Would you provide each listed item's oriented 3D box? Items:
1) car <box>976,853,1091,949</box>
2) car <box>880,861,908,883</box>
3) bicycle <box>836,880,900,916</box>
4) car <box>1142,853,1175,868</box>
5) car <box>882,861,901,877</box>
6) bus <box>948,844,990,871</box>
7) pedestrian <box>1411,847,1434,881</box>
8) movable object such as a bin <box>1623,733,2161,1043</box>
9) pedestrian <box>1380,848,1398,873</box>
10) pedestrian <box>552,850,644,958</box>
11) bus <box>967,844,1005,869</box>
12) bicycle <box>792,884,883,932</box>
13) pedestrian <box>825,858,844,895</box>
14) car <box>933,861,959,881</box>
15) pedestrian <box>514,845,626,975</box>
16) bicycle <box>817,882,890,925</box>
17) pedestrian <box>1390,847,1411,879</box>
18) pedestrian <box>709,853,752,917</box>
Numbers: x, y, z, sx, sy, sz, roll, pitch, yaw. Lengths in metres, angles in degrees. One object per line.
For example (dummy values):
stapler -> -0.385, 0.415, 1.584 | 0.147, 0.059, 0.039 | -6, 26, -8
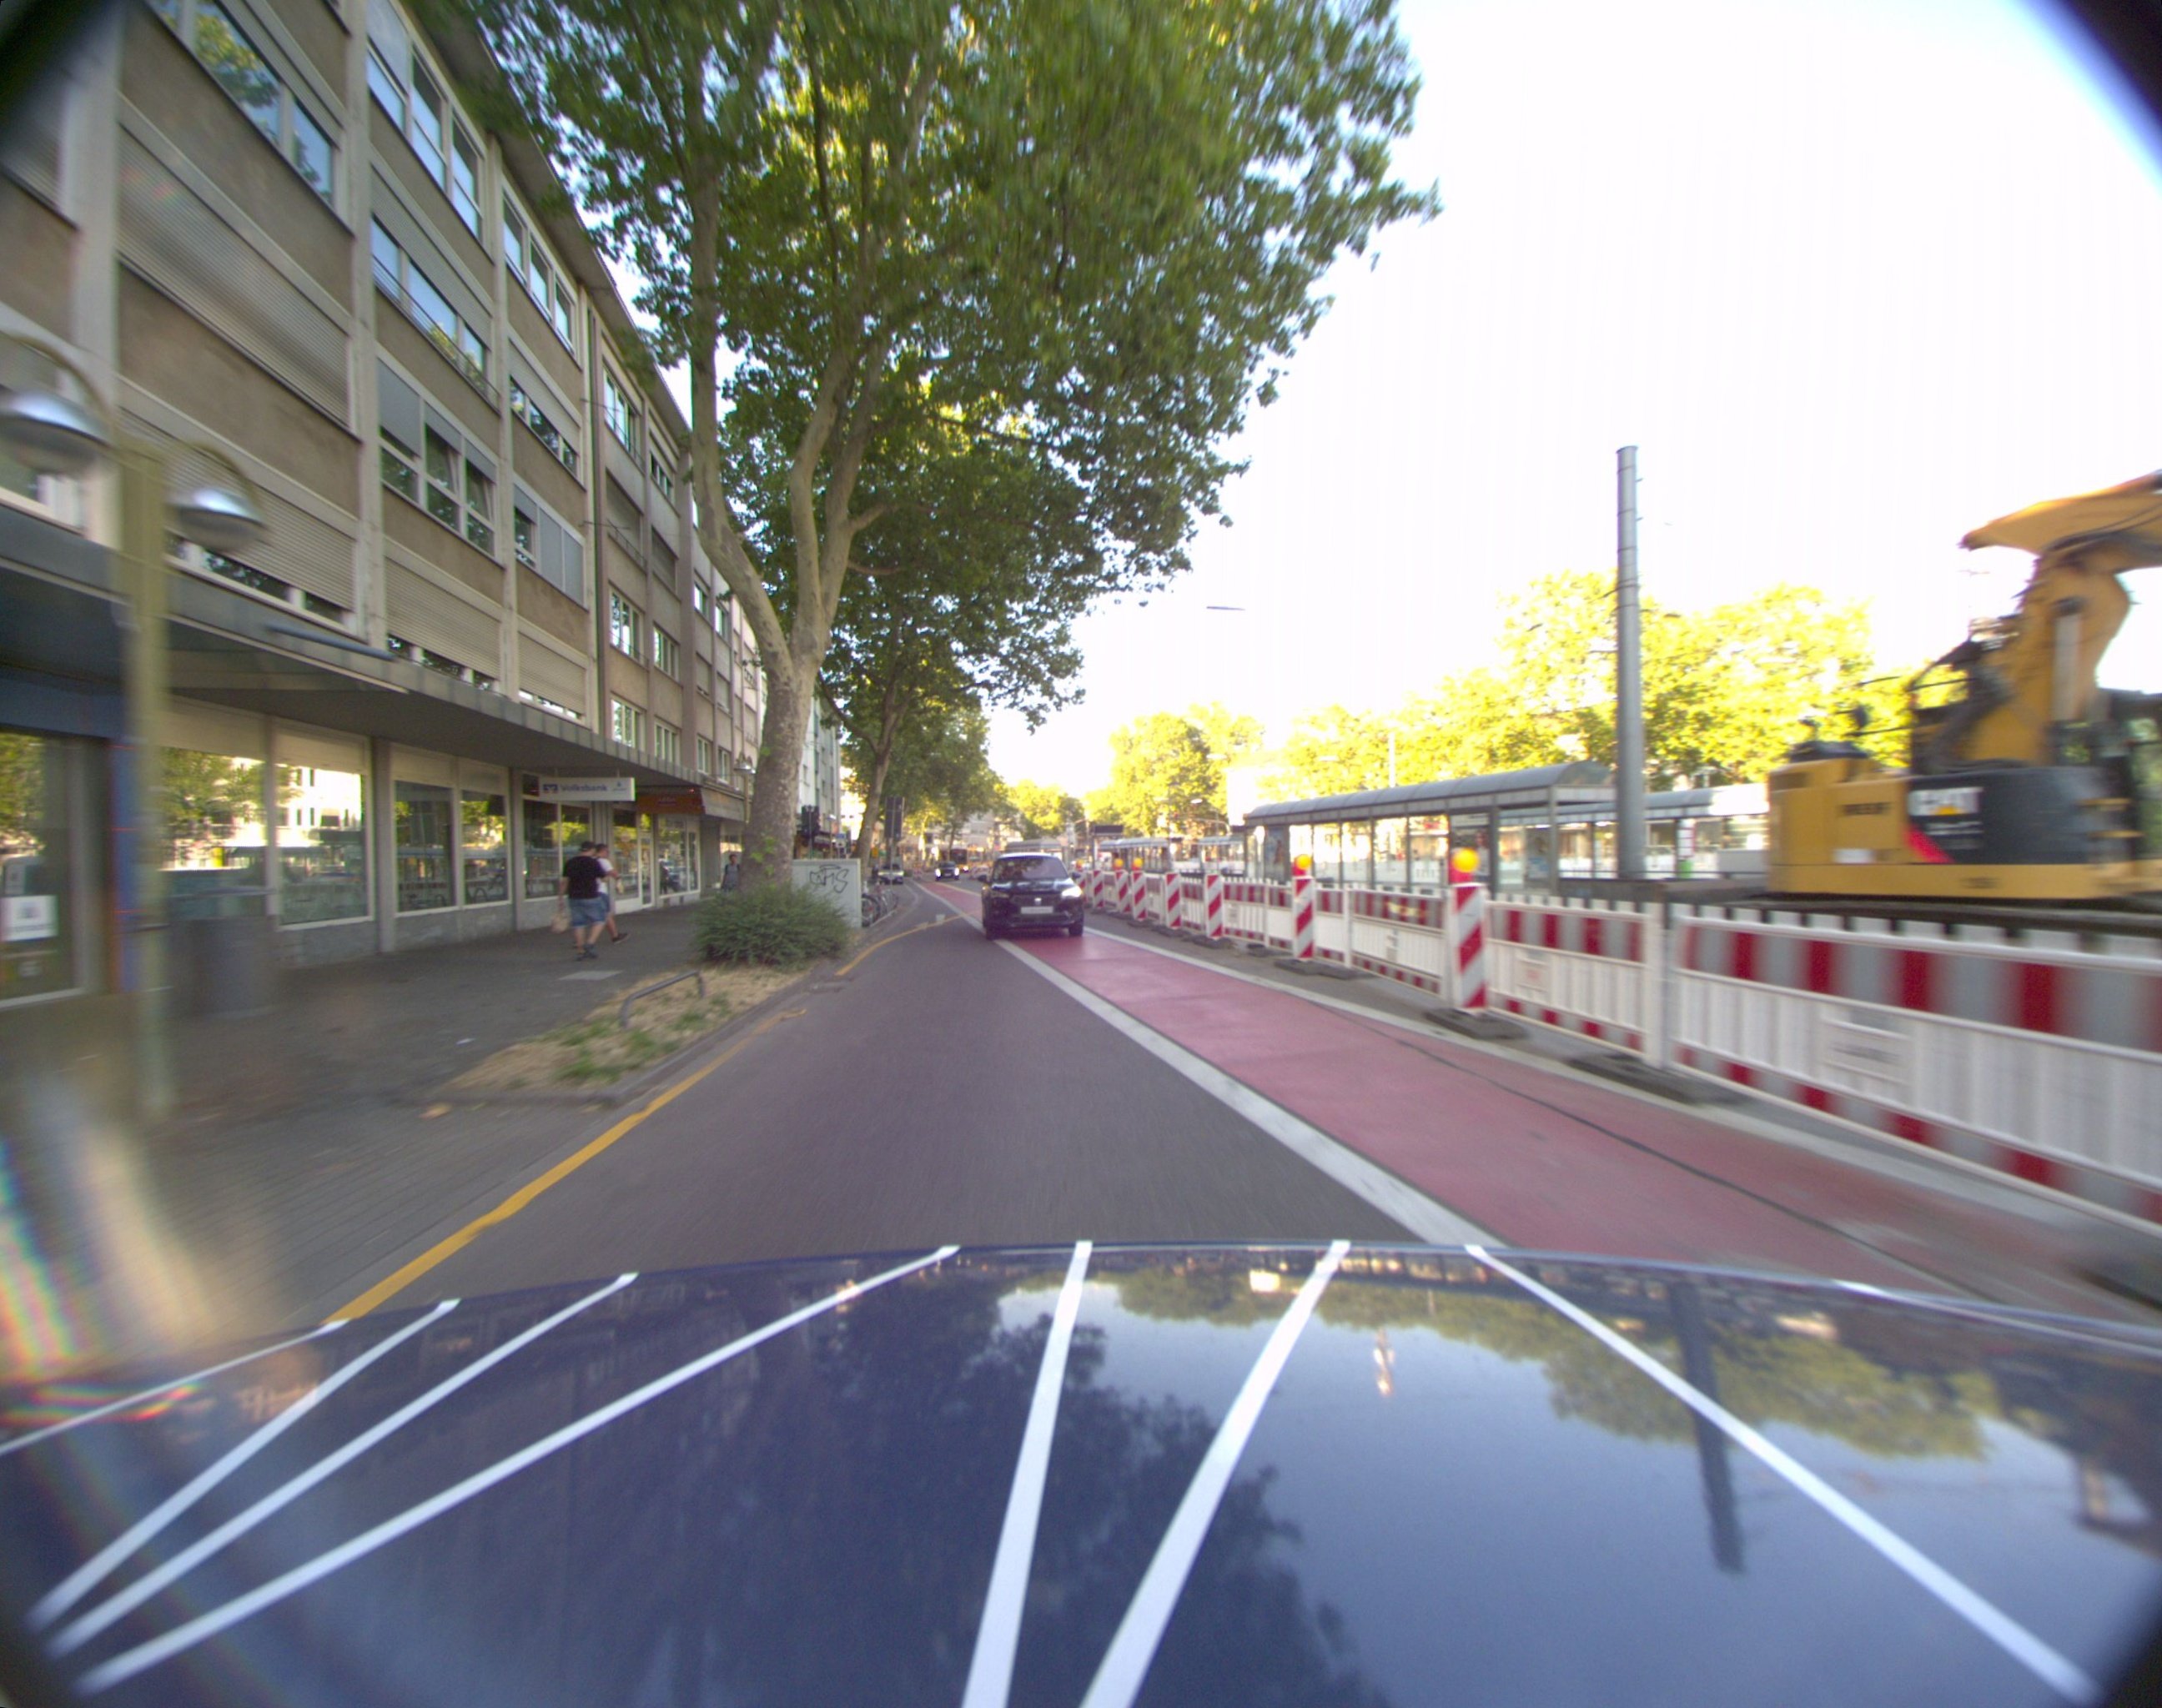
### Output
car -> -1.015, 0.847, 15.668 | 1.999, 1.637, 4.202 | -2, 0, -5
car -> -14.196, 1.300, 57.587 | 1.925, 1.588, 4.785 | 0, 0, -15
bicycle -> -6.344, 1.299, 22.664 | 1.796, 1.016, 0.643 | 0, 0, -15
car -> 8.279, 0.667, 81.579 | 1.686, 1.565, 3.383 | -1, 0, -36
car -> -17.821, 1.425, 71.630 | 1.661, 1.470, 3.797 | 0, 0, -12
bus -> -14.325, 0.414, 98.038 | 2.737, 3.188, 12.310 | -3, 0, 3
pedestrian -> 20.184, 0.594, 44.957 | 0.887, 2.002, 0.883 | -1, 0, -10
movable object such as a bin -> 8.797, 0.242, 7.556 | 2.653, 2.304, 4.894 | -1, 0, -18
pedestrian -> 24.404, 0.513, 60.205 | 0.884, 2.002, 0.886 | -1, 0, -21
pedestrian -> -7.932, 0.798, 12.547 | 0.902, 1.687, 1.069 | 3, -1, -13
bus -> -13.495, 0.325, 109.262 | 2.737, 3.188, 12.367 | -3, 0, 5
bicycle -> -5.663, 1.254, 17.790 | 1.994, 1.052, 0.770 | 0, 0, -15
pedestrian -> -11.548, 1.050, 35.577 | 0.649, 1.663, 0.554 | -2, 1, -42
car -> -11.349, 1.434, 63.696 | 2.000, 1.575, 4.615 | -2, -1, -11
pedestrian -> -7.121, 0.759, 10.666 | 0.902, 1.700, 1.069 | 3, -1, -13
bicycle -> -5.735, 1.246, 19.228 | 1.719, 1.052, 0.643 | 0, 0, -11
pedestrian -> 20.061, 0.578, 47.700 | 0.887, 2.002, 0.883 | -1, 0, -10
pedestrian -> -9.396, 0.819, 20.381 | 0.846, 1.663, 0.989 | 1, 0, -13
